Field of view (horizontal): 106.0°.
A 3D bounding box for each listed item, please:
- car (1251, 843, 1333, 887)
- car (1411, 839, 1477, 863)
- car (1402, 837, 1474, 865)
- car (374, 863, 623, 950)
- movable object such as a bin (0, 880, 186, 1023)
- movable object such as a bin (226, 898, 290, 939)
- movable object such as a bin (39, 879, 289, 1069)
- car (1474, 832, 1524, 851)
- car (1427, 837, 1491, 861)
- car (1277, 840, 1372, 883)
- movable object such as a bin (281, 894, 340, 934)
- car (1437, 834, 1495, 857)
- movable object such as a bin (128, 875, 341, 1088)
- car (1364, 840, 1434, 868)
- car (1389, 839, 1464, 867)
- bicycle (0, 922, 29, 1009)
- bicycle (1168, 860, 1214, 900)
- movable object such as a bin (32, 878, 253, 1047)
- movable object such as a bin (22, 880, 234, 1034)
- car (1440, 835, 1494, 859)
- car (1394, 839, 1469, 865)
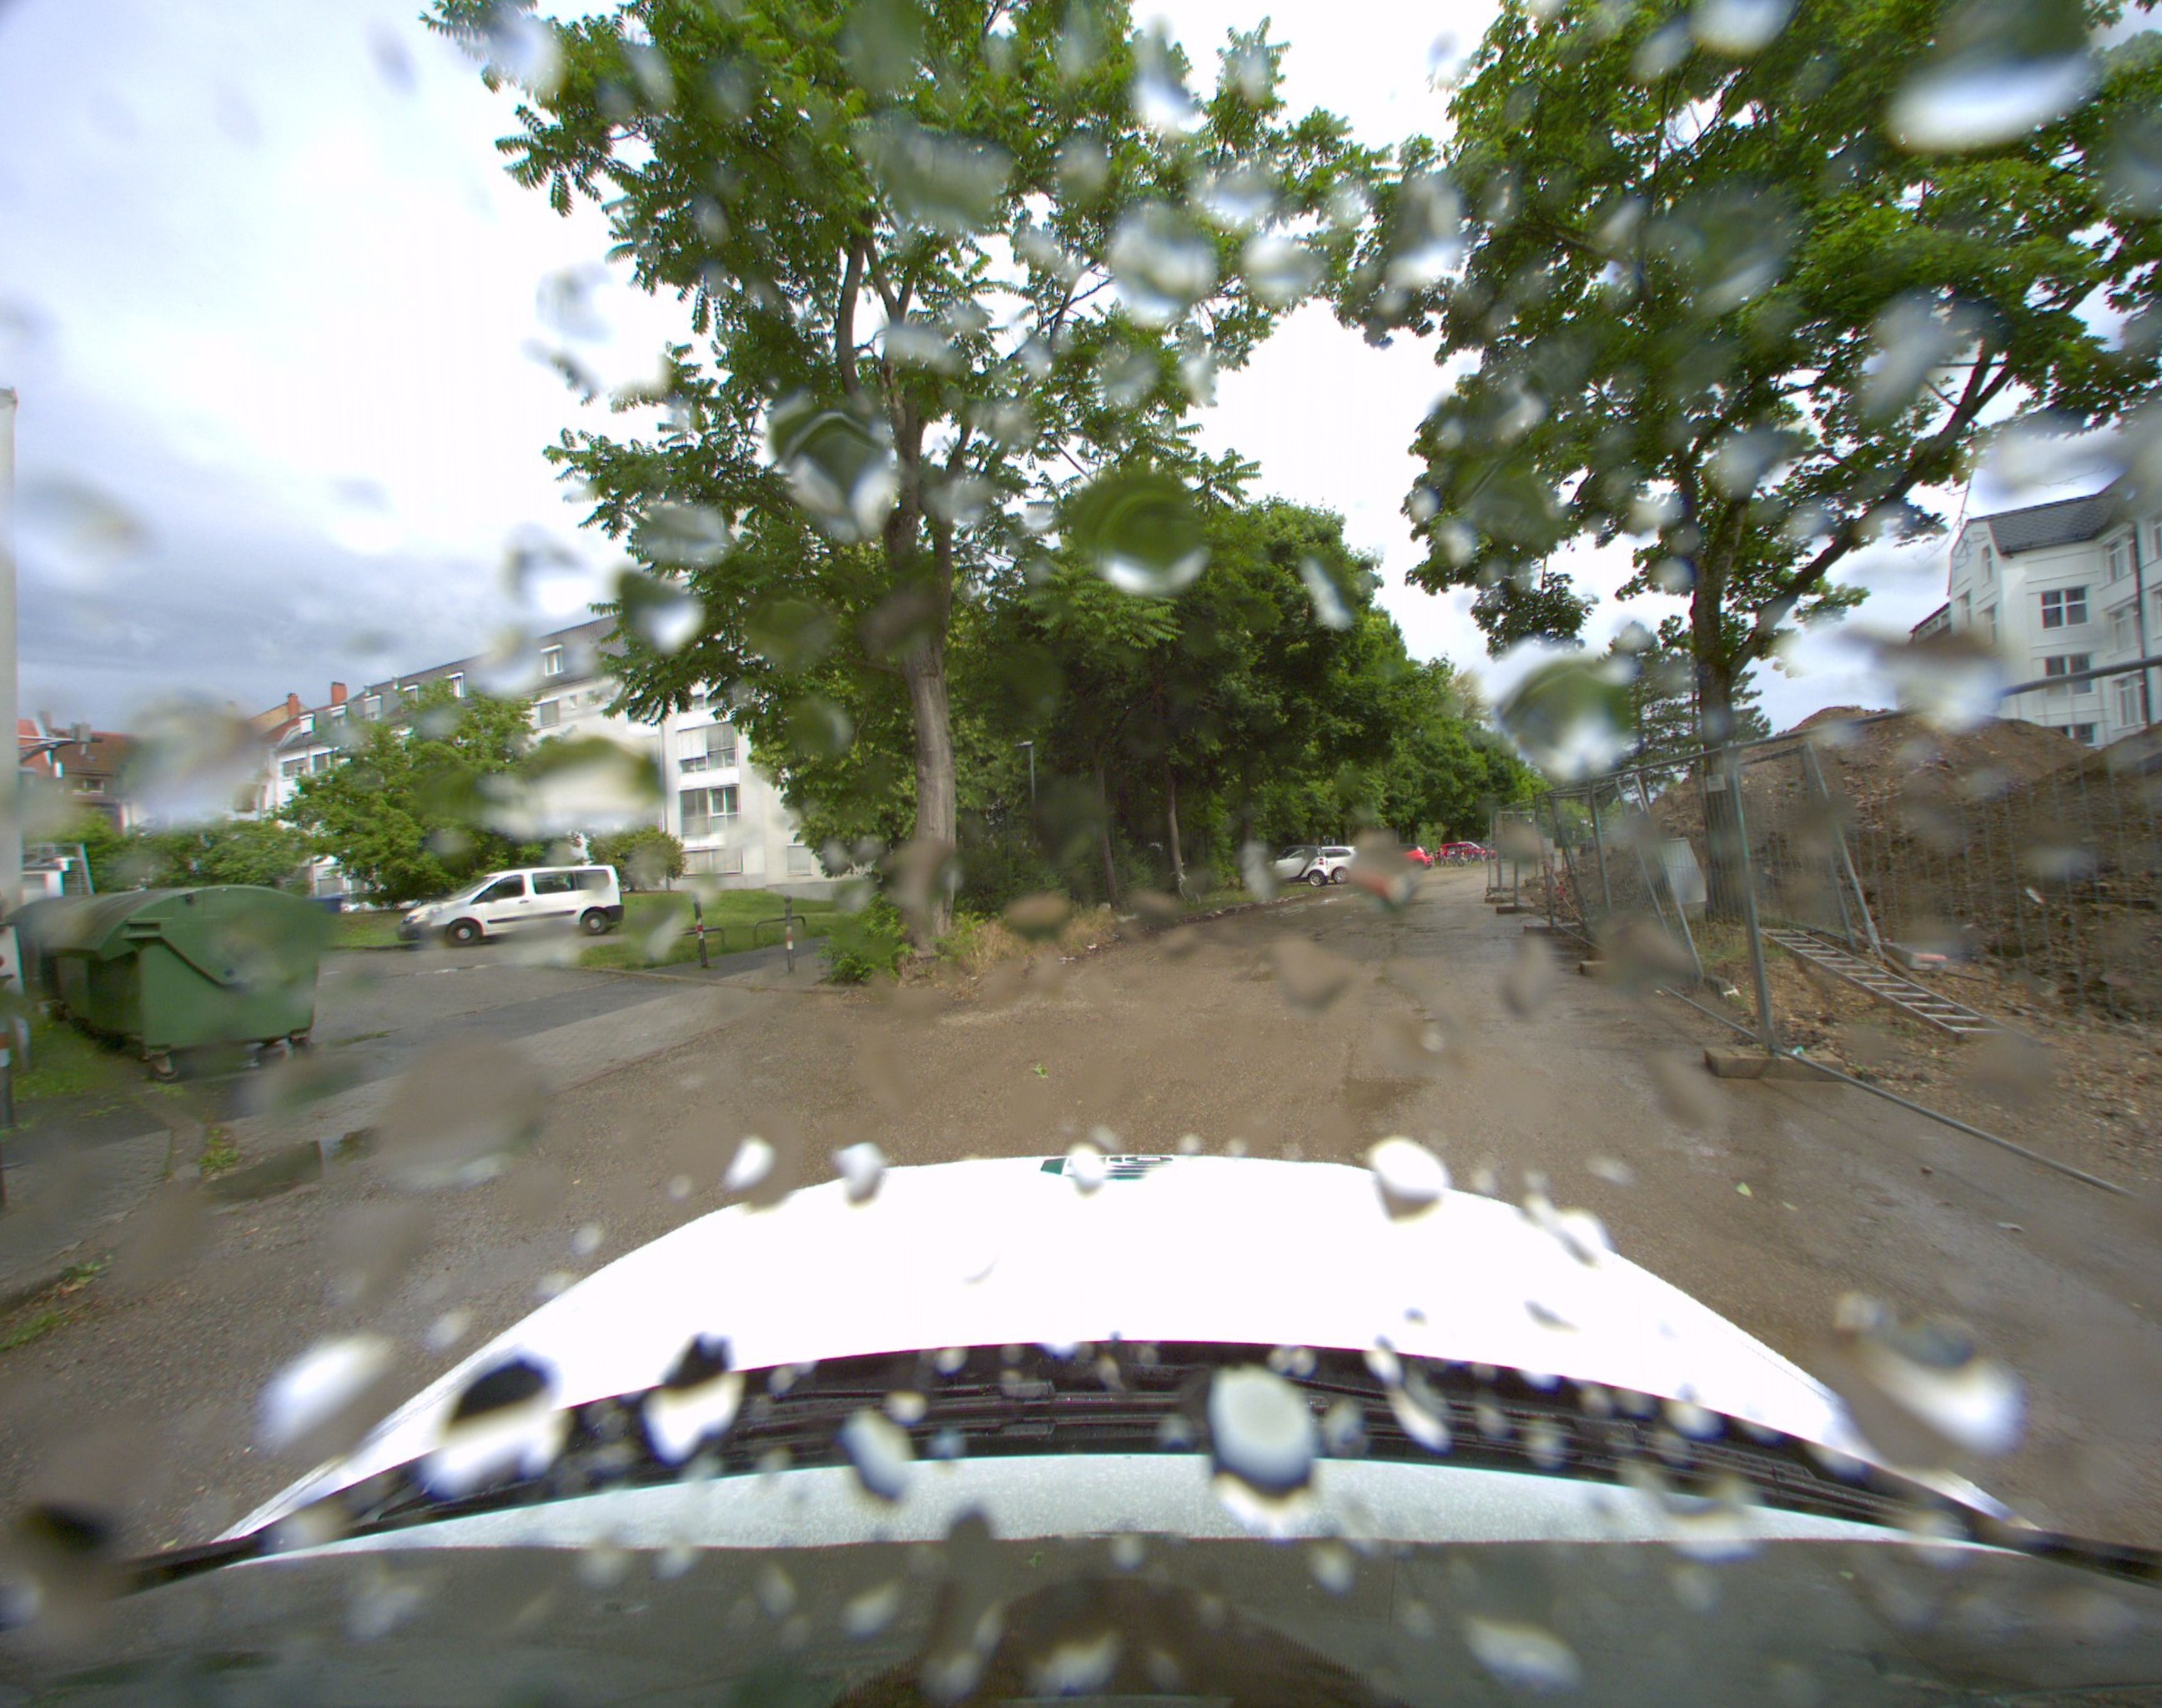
[{"bbox_3d":[7.874,0.403,30.363,2.730,1.484,1.601,-3,1,21],"label":"car"},{"bbox_3d":[24.451,-0.201,54.865,3.904,1.516,1.817,-1,1,29],"label":"car"},{"bbox_3d":[23.220,-0.213,52.995,4.068,1.650,1.858,-1,1,28],"label":"car"},{"bbox_3d":[-15.196,1.304,21.544,2.072,1.926,4.921,-4,-2,35],"label":"car"},{"bbox_3d":[-11.973,1.131,9.813,1.574,1.483,1.175,-4,0,28],"label":"movable object such as a bin"},{"bbox_3d":[-28.834,2.248,28.537,1.081,1.292,1.350,-3,1,35],"label":"movable object such as a bin"},{"bbox_3d":[-8.286,0.995,7.387,1.385,1.483,1.175,-1,0,27],"label":"movable object such as a bin"},{"bbox_3d":[37.156,-1.133,72.444,3.820,1.573,1.971,-1,1,29],"label":"car"},{"bbox_3d":[26.899,-0.384,57.940,3.949,1.560,1.775,-1,1,30],"label":"car"},{"bbox_3d":[9.630,0.298,32.183,3.402,1.468,1.750,-3,1,21],"label":"car"},{"bbox_3d":[-28.119,2.176,29.717,1.181,1.336,1.305,-4,0,35],"label":"movable object such as a bin"},{"bbox_3d":[29.542,-0.634,62.490,3.820,1.573,1.971,-1,1,29],"label":"car"},{"bbox_3d":[-6.908,0.946,6.692,1.467,1.473,1.111,-4,-2,43],"label":"movable object such as a bin"},{"bbox_3d":[17.606,0.007,45.109,3.251,1.425,1.603,-1,1,36],"label":"car"},{"bbox_3d":[20.641,-0.058,48.699,3.756,1.529,1.922,-1,1,34],"label":"car"},{"bbox_3d":[-14.783,1.514,10.956,1.500,1.116,0.621,-4,0,33],"label":"bicycle"},{"bbox_3d":[2.646,0.615,19.484,0.471,0.860,1.465,-1,1,34],"label":"bicycle"},{"bbox_3d":[-9.433,1.020,8.207,1.385,1.483,1.175,-2,-1,29],"label":"movable object such as a bin"},{"bbox_3d":[-10.604,1.097,9.079,1.478,1.483,1.175,-4,0,28],"label":"movable object such as a bin"},{"bbox_3d":[28.599,-0.536,60.355,3.554,1.620,1.881,-1,1,26],"label":"car"},{"bbox_3d":[21.770,-0.120,50.565,3.948,1.496,2.007,-1,1,33],"label":"car"}]
